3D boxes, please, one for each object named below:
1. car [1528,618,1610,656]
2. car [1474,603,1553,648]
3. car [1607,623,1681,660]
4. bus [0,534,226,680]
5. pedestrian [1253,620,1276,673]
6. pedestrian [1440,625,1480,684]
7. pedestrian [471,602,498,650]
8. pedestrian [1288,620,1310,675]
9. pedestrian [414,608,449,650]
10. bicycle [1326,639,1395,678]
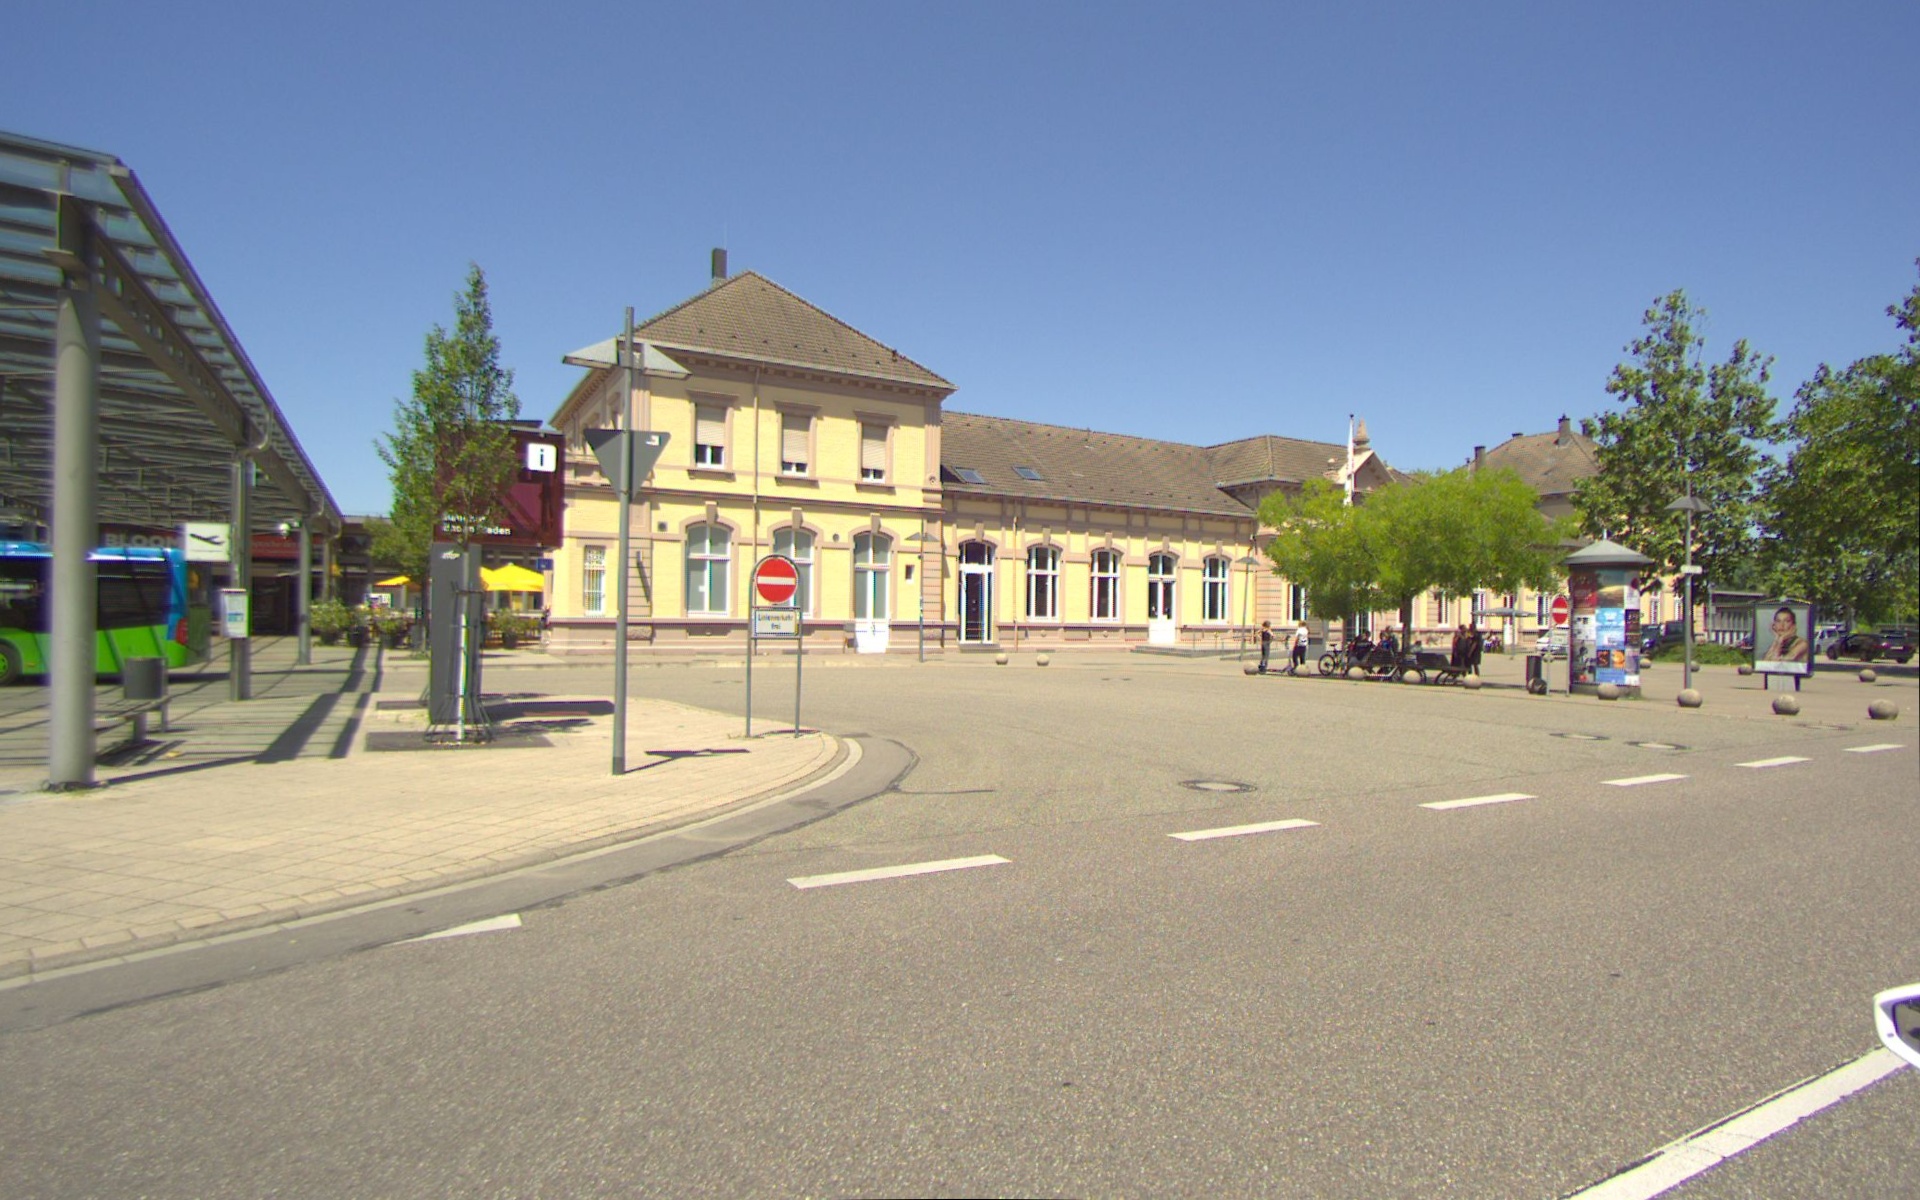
[{"bbox_3d":[32.787,2.015,54.020,4.720,1.942,1.743,2,-2,-30],"label":"car"},{"bbox_3d":[31.977,1.487,58.001,4.948,2.501,1.710,2,0,-31],"label":"car"},{"bbox_3d":[39.033,2.339,57.317,3.953,2.040,1.984,1,-1,-30],"label":"car"},{"bbox_3d":[-24.664,0.112,20.480,15.317,3.077,2.857,1,-1,-28],"label":"bus"},{"bbox_3d":[9.865,1.508,32.520,0.644,1.695,0.632,2,-2,14],"label":"pedestrian"},{"bbox_3d":[14.606,1.573,29.341,0.708,1.681,0.761,2,-2,-13],"label":"pedestrian"},{"bbox_3d":[-17.093,0.913,36.106,0.771,1.708,0.659,-1,0,-37],"label":"pedestrian"},{"bbox_3d":[10.898,1.517,32.305,0.574,1.732,0.588,2,-2,14],"label":"pedestrian"},{"bbox_3d":[-19.052,1.028,36.232,0.952,1.496,0.890,1,-1,-39],"label":"pedestrian"},{"bbox_3d":[11.556,1.672,28.986,1.770,1.044,0.487,0,-1,38],"label":"bicycle"}]
